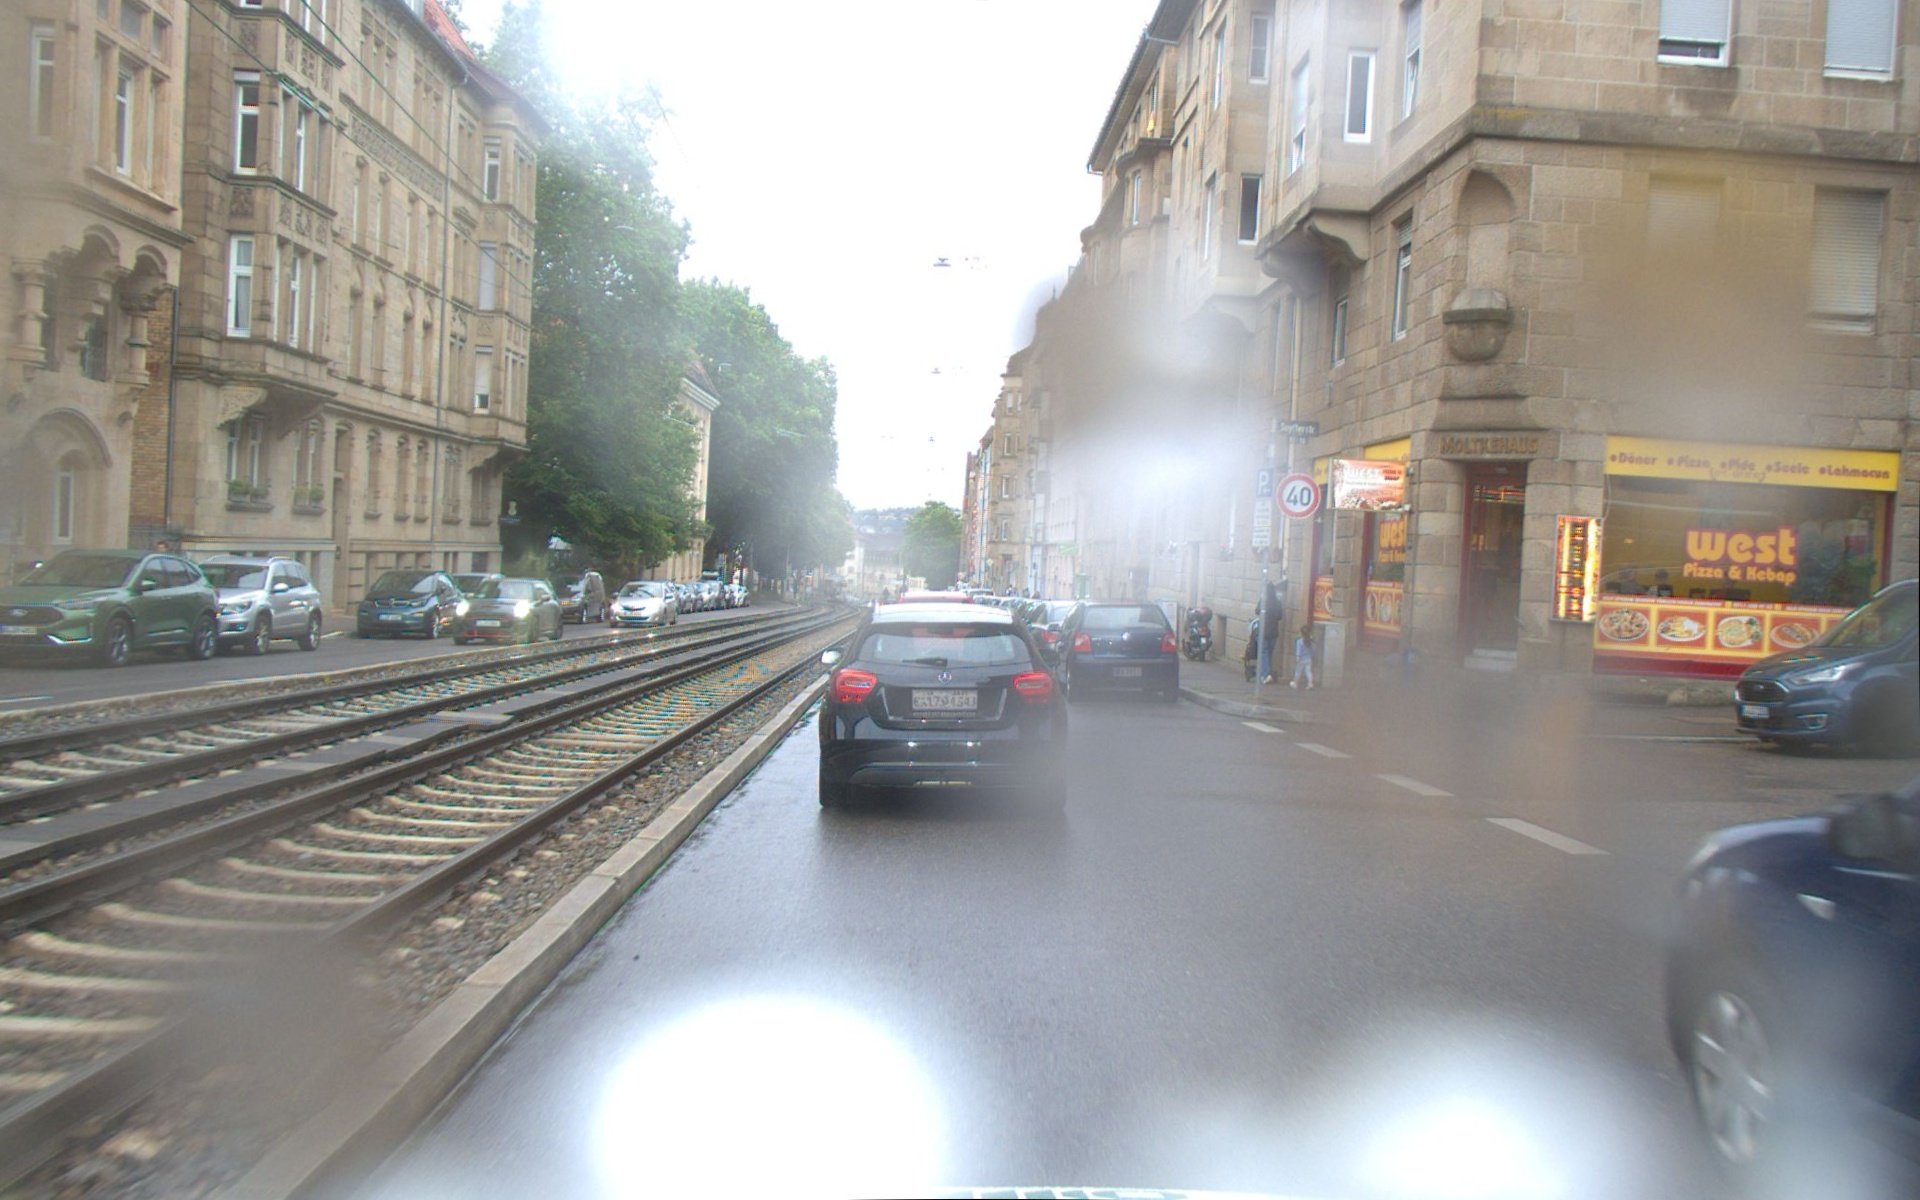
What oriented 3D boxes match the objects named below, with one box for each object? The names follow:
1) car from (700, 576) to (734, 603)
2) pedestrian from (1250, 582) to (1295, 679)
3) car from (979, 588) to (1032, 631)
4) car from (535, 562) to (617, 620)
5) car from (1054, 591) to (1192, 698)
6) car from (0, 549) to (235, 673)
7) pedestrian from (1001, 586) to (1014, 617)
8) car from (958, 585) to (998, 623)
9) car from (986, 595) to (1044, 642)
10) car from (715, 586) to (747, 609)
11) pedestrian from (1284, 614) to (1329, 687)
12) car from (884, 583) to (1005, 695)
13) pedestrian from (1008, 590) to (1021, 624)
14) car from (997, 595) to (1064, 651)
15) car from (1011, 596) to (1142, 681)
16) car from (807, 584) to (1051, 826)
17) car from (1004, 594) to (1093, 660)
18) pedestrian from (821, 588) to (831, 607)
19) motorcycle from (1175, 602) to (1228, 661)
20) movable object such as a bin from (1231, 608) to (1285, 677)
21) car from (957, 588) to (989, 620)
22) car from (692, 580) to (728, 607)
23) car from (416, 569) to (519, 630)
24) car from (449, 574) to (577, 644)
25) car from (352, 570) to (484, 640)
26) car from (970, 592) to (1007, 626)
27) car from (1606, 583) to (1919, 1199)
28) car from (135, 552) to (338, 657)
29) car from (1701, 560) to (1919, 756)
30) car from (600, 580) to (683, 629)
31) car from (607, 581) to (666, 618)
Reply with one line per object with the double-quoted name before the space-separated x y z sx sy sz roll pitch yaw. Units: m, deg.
"car" -14.201 -0.627 96.709 1.508 1.531 4.153 0 0 -2
"pedestrian" 5.120 0.496 27.152 0.550 1.562 0.710 2 0 -1
"car" 1.642 0.330 60.163 1.634 1.459 3.954 1 0 -2
"car" -13.096 -0.300 56.692 1.764 1.879 4.817 1 0 -1
"car" 2.371 0.604 24.808 1.637 1.469 3.789 0 0 -1
"car" -12.544 0.134 24.256 1.820 1.630 4.430 1 0 0
"pedestrian" 2.848 0.091 98.467 0.730 1.866 1.039 -1 0 0
"car" 0.844 0.174 81.074 1.755 1.796 4.210 1 0 -2
"car" 1.807 0.591 54.986 1.559 1.459 3.681 1 0 -3
"car" -14.438 -0.178 104.601 1.469 1.415 3.987 0 0 0
"pedestrian" 5.264 0.765 25.137 0.500 1.068 0.626 2 0 -1
"car" -0.274 0.579 26.588 1.749 1.608 3.999 2 0 -1
"pedestrian" 2.849 0.351 86.521 0.595 1.794 0.688 0 0 -2
"car" 1.896 0.604 45.510 1.513 1.439 3.444 2 0 -3
"car" 2.029 0.639 30.030 1.720 1.411 4.481 0 0 -5
"car" -0.250 0.680 12.590 1.548 1.531 3.573 2 0 -2
"car" 2.111 0.626 40.597 1.752 1.488 4.081 2 0 -3
"pedestrian" -11.977 -0.237 147.552 0.789 1.662 0.892 0 0 -1
"motorcycle" 5.321 0.672 36.646 0.691 1.219 2.745 2 0 -1
"movable object such as a bin" 5.046 0.708 28.077 0.651 1.122 1.123 2 0 -2
"car" 0.748 0.206 96.044 1.791 1.781 4.467 2 0 0
"car" -13.502 -0.362 89.541 1.508 1.438 3.951 0 0 -2
"car" -13.224 -0.034 44.606 1.660 1.550 3.854 1 0 -1
"car" -9.747 0.182 36.325 1.669 1.412 3.782 1 0 1
"car" -12.857 0.102 39.490 1.832 1.534 4.168 1 0 -1
"car" 1.301 0.392 76.749 1.538 1.487 3.599 1 0 -1
"car" 2.946 0.728 3.069 1.658 1.508 3.925 0 0 -6
"car" -12.675 0.061 29.275 1.821 1.681 4.313 1 0 -3
"car" 10.474 0.537 17.160 4.682 1.894 1.999 -1 0 -2
"car" -10.141 0.127 52.957 1.942 1.482 4.292 1 0 -3
"car" -13.570 -0.023 69.591 1.812 1.489 4.548 0 0 -3
